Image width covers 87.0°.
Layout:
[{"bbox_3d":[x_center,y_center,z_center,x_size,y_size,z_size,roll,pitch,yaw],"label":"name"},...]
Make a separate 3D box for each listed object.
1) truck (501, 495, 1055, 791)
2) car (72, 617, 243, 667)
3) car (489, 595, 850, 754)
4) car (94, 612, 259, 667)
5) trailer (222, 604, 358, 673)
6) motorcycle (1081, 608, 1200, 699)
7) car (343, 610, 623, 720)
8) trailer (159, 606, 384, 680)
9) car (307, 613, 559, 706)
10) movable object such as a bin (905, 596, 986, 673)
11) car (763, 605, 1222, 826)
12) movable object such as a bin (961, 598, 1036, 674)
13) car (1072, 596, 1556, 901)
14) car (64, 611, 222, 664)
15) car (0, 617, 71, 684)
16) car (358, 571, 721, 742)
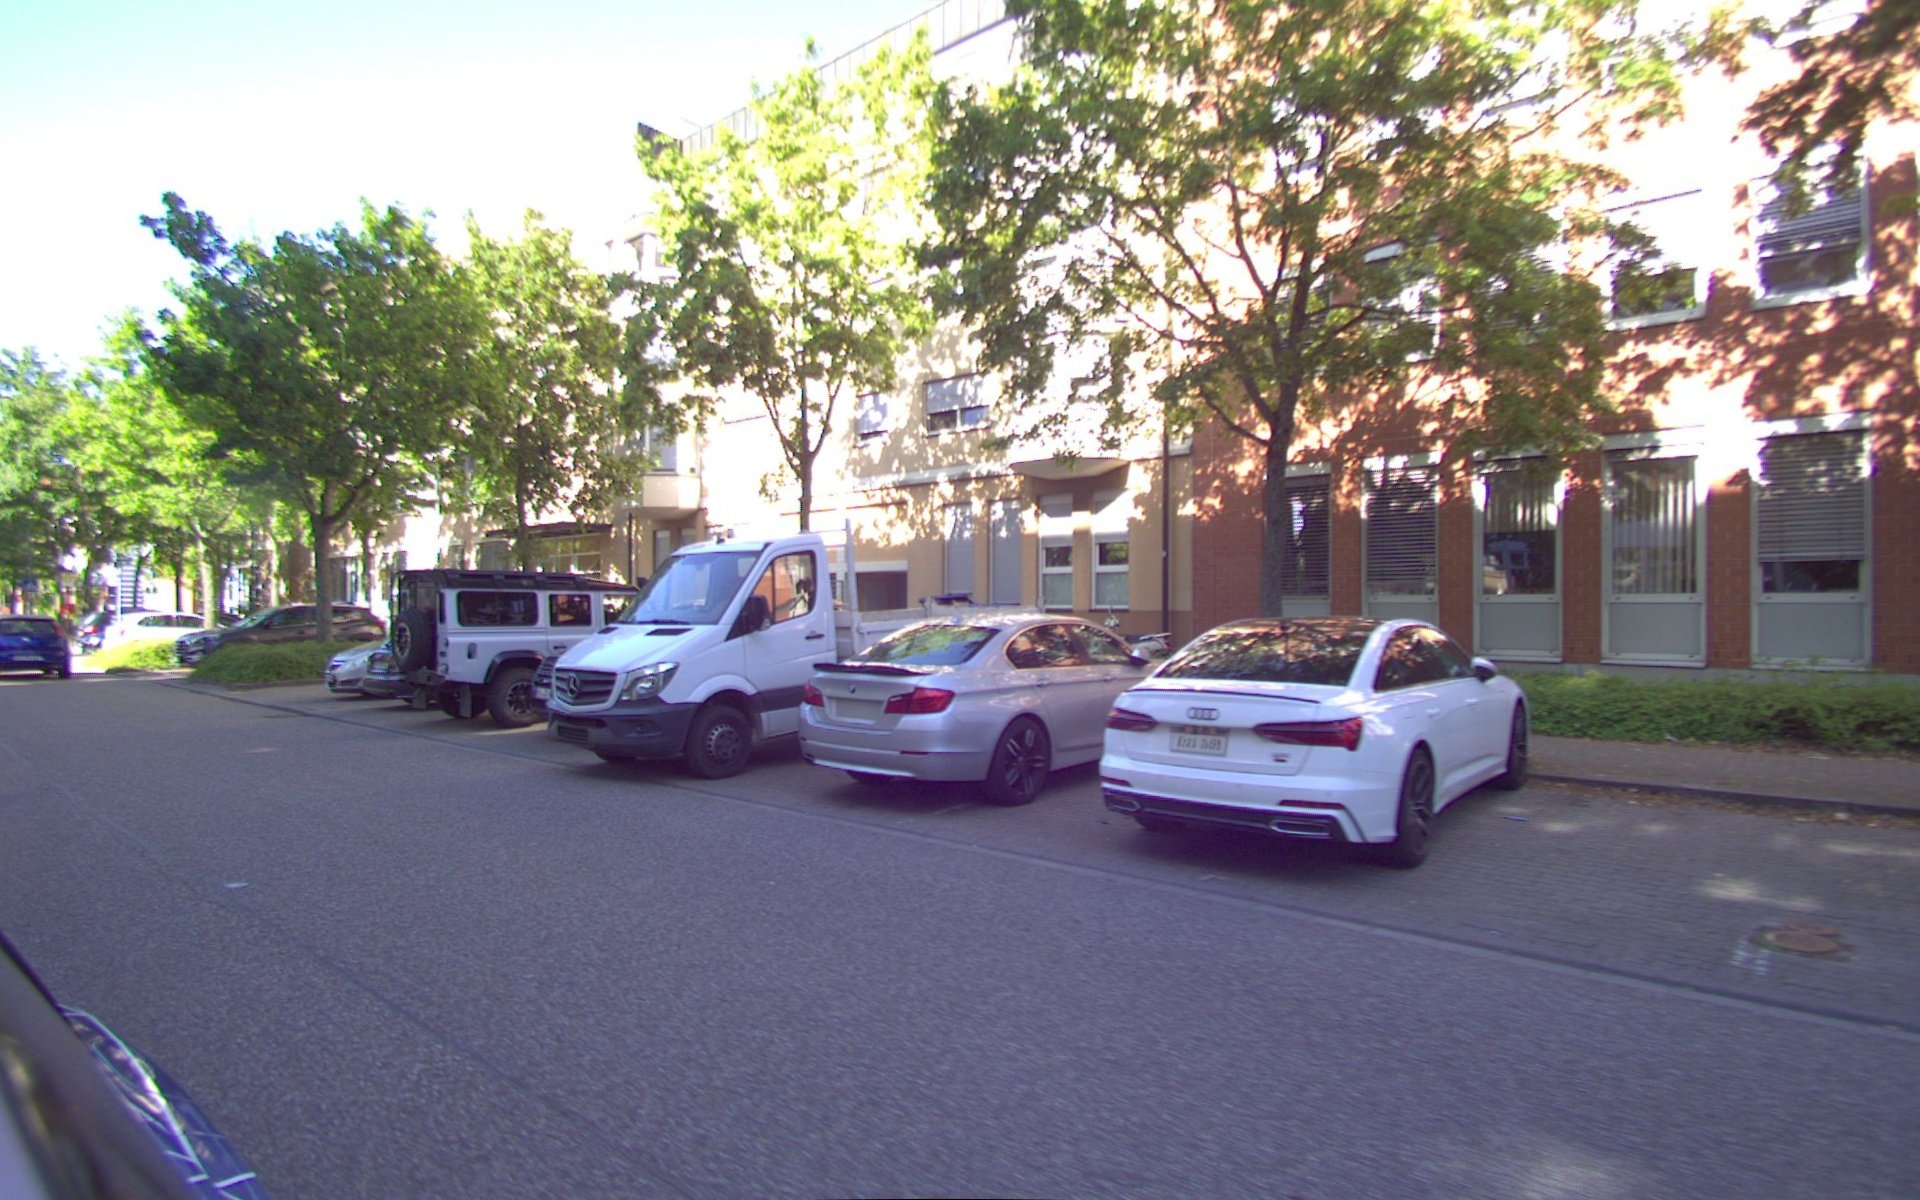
[{"bbox_3d":[-1.601,0.418,11.418,2.186,2.440,6.167,-1,-2,41],"label":"truck"},{"bbox_3d":[-26.156,1.317,33.100,1.799,1.413,4.110,-1,1,40],"label":"car"},{"bbox_3d":[-3.600,0.796,13.097,1.999,1.674,4.065,0,0,41],"label":"car"},{"bbox_3d":[-23.965,1.167,31.052,1.753,1.463,3.716,-1,1,40],"label":"car"},{"bbox_3d":[-17.988,0.982,27.217,1.711,1.700,2.697,-1,0,41],"label":"trailer"},{"bbox_3d":[3.333,0.964,18.791,2.107,1.603,0.707,-1,-2,39],"label":"motorcycle"},{"bbox_3d":[-7.724,0.964,16.632,1.831,1.504,3.741,-1,0,39],"label":"car"},{"bbox_3d":[-16.796,0.972,24.879,1.853,1.584,4.221,-1,0,37],"label":"trailer"},{"bbox_3d":[-9.653,1.006,18.718,1.733,1.472,3.792,-1,0,44],"label":"car"},{"bbox_3d":[-0.309,0.743,22.364,1.435,1.632,1.137,-1,-1,29],"label":"movable object such as a bin"},{"bbox_3d":[0.542,0.815,9.334,1.998,1.498,4.383,-1,0,39],"label":"car"},{"bbox_3d":[0.830,0.754,21.713,1.239,1.575,1.137,-1,-1,28],"label":"movable object such as a bin"},{"bbox_3d":[2.838,0.747,7.335,1.888,1.453,4.496,-2,-1,39],"label":"car"},{"bbox_3d":[-28.004,1.239,34.769,1.727,1.582,3.947,-1,1,40],"label":"car"},{"bbox_3d":[-21.921,1.120,23.303,3.997,1.431,1.627,-1,-2,41],"label":"car"},{"bbox_3d":[-5.862,0.656,14.587,1.998,2.067,4.438,-1,0,39],"label":"car"}]
